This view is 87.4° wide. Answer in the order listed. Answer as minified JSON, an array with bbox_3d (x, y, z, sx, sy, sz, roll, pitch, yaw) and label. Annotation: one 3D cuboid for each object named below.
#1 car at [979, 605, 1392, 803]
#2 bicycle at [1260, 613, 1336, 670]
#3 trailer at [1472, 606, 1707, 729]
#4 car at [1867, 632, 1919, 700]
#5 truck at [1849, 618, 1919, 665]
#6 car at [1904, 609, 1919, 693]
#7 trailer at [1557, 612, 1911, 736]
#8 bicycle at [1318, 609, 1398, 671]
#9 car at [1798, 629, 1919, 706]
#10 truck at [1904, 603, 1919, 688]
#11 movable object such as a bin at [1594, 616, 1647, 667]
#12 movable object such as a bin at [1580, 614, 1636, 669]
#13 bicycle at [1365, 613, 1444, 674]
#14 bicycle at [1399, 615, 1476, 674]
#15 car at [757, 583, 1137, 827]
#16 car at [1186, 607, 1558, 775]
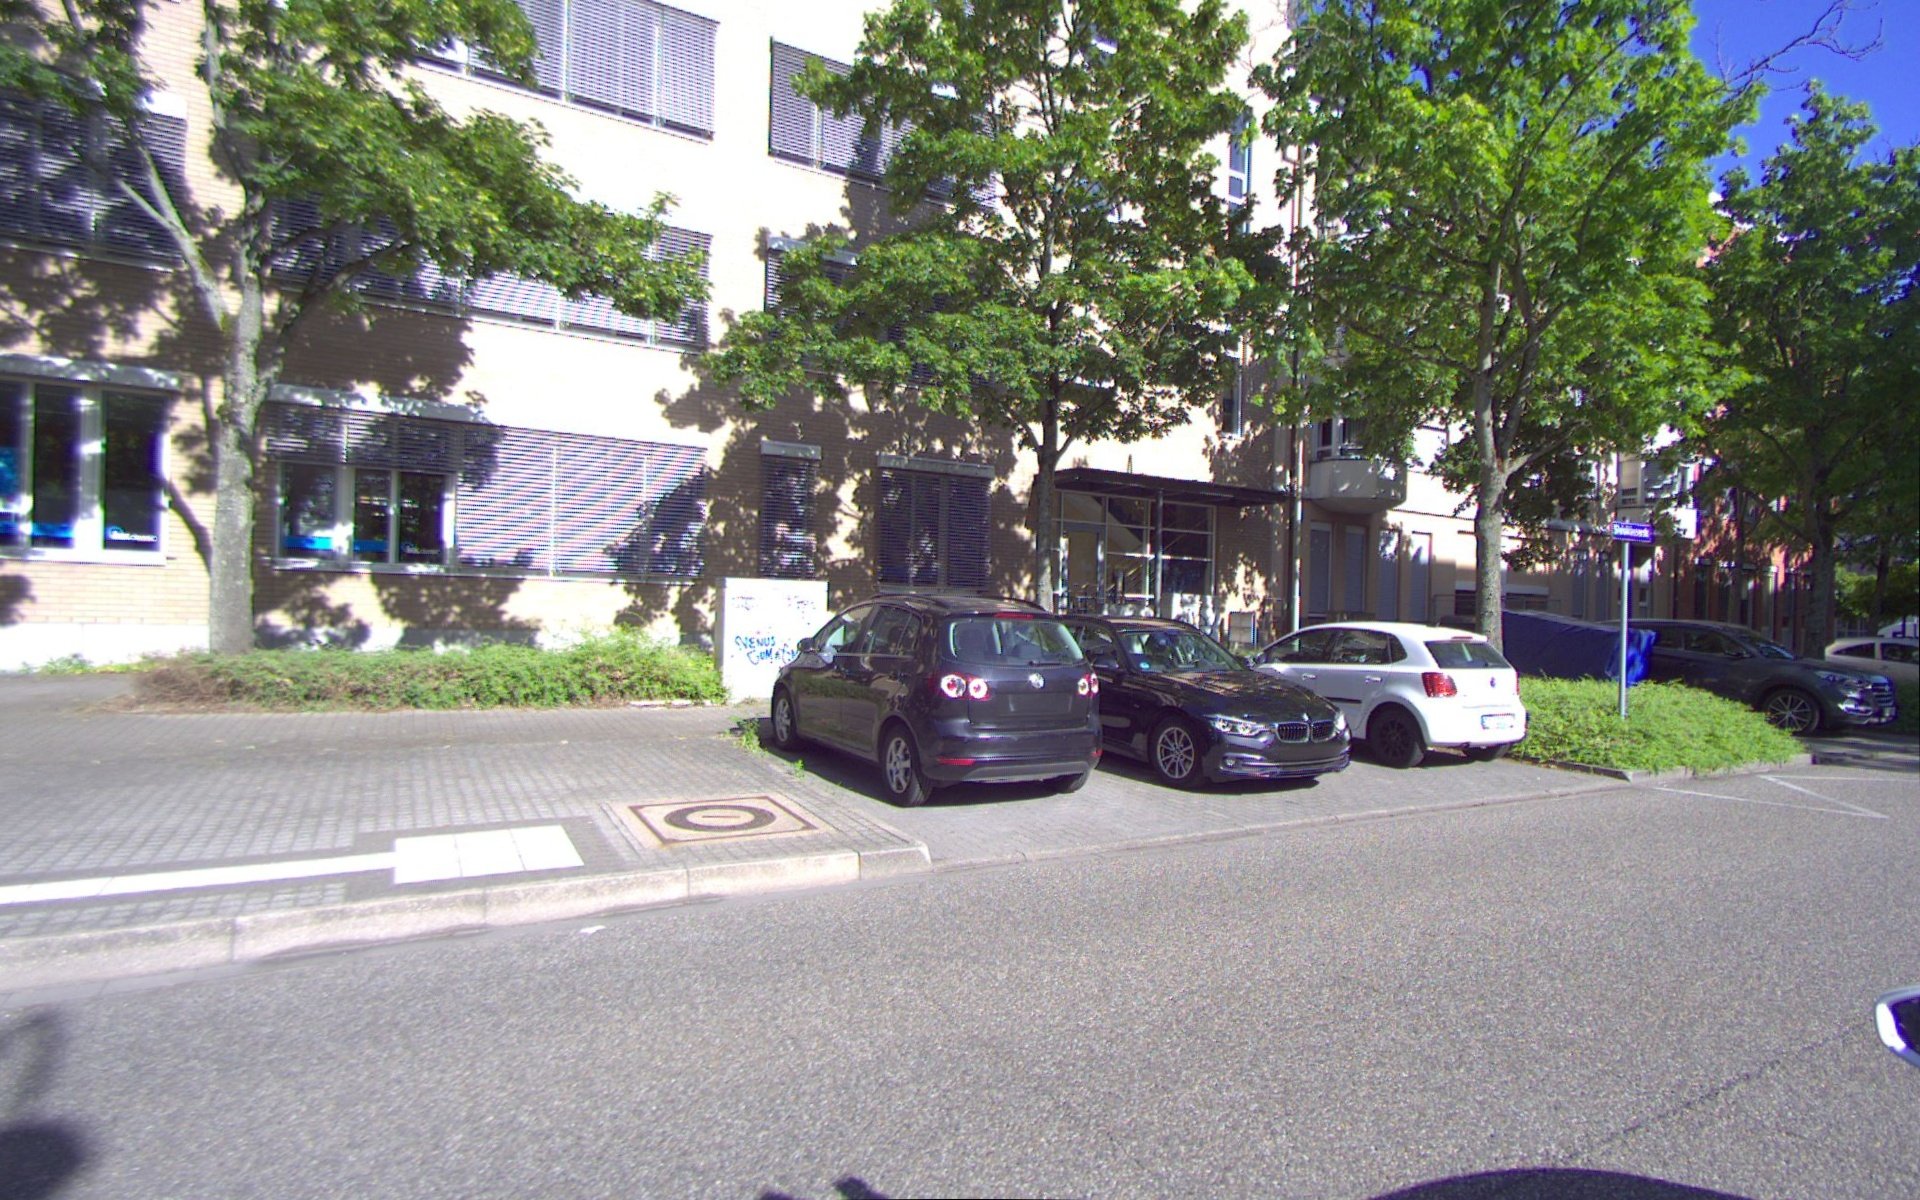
[{"bbox_3d":[2.032,0.872,10.294,1.780,1.421,4.131,2,1,-30],"label":"car"},{"bbox_3d":[8.080,0.979,24.046,0.448,1.246,1.676,2,1,-42],"label":"bicycle"},{"bbox_3d":[10.096,1.015,16.266,1.691,1.710,2.713,2,1,-29],"label":"trailer"},{"bbox_3d":[23.126,1.579,22.491,1.810,1.512,3.762,2,1,-28],"label":"car"},{"bbox_3d":[57.682,2.481,60.232,2.549,2.740,6.072,2,-1,-31],"label":"truck"},{"bbox_3d":[25.664,1.368,23.727,1.976,2.079,4.461,2,1,-29],"label":"car"},{"bbox_3d":[12.545,1.099,16.572,1.836,1.593,4.235,2,1,-33],"label":"trailer"},{"bbox_3d":[9.914,0.987,25.078,1.702,1.428,0.612,3,1,38],"label":"bicycle"},{"bbox_3d":[20.606,1.478,21.427,1.710,1.480,3.821,2,1,-26],"label":"car"},{"bbox_3d":[29.889,1.367,27.014,2.161,2.454,6.205,2,0,-29],"label":"truck"},{"bbox_3d":[21.346,1.331,32.460,1.235,1.583,1.134,2,-1,-42],"label":"movable object such as a bin"},{"bbox_3d":[20.375,1.287,31.587,1.431,1.641,1.134,2,-1,-42],"label":"movable object such as a bin"},{"bbox_3d":[11.430,1.102,25.868,0.610,1.428,1.707,2,1,-43],"label":"bicycle"},{"bbox_3d":[12.742,1.168,26.840,1.702,1.428,0.612,3,1,38],"label":"bicycle"},{"bbox_3d":[-0.365,0.727,9.139,1.708,1.591,3.967,2,2,-30],"label":"car"},{"bbox_3d":[4.605,0.917,11.778,1.733,1.472,3.737,2,1,-29],"label":"car"}]
